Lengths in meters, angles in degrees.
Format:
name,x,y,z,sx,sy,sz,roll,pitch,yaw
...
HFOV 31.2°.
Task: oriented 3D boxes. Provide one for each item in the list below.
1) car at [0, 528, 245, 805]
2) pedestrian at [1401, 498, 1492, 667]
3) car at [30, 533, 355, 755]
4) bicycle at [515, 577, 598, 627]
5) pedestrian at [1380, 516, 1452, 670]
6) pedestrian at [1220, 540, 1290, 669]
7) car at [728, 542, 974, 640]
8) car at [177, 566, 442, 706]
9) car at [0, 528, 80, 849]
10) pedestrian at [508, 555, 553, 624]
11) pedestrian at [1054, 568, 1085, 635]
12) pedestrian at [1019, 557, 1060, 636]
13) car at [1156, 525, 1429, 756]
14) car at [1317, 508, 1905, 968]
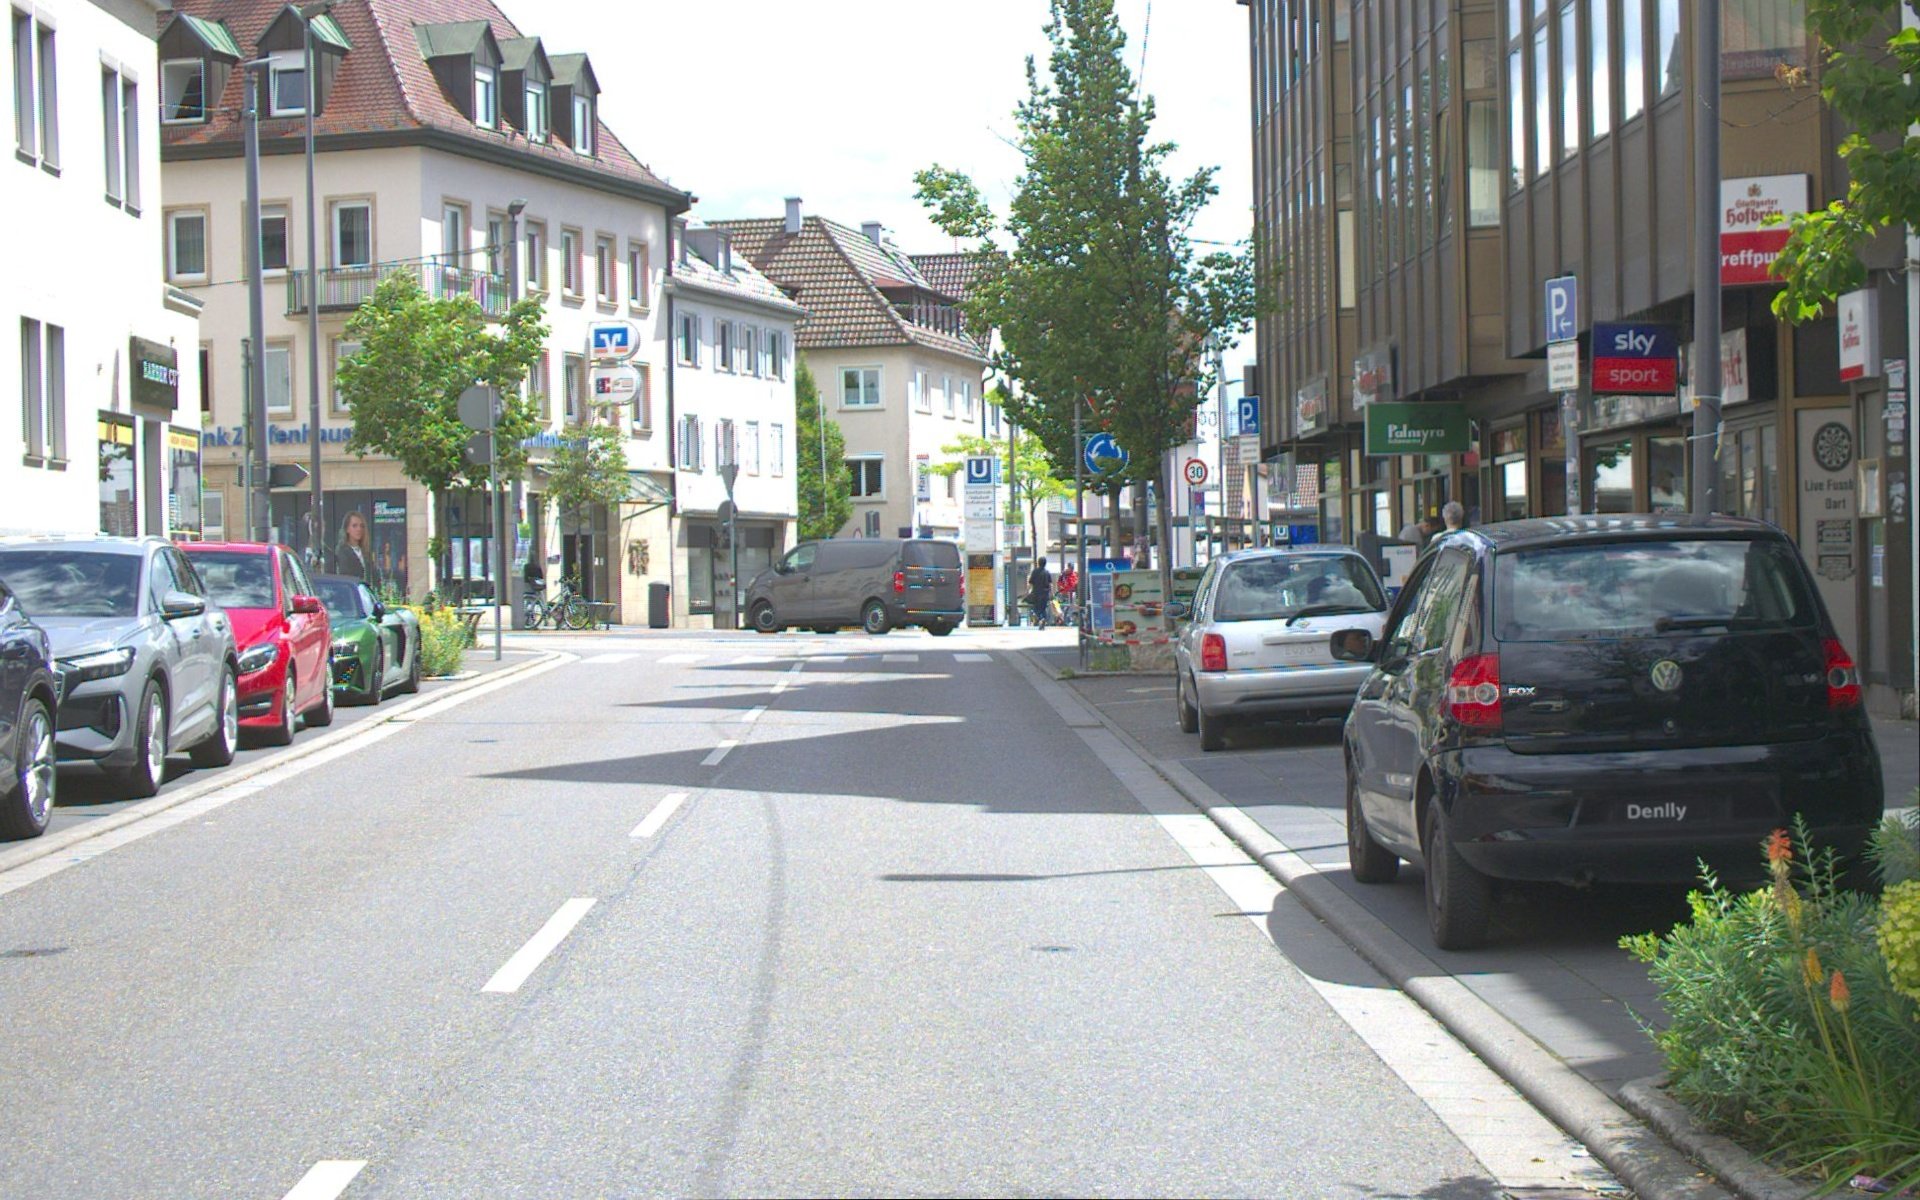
name,x,y,z,sx,sy,sz,roll,pitch,yaw
car,-5.833,0.360,22.150,1.799,1.598,4.352,-1,1,-4
pedestrian,4.961,-0.179,35.067,0.655,1.701,0.647,1,0,-23
car,-6.012,0.289,27.387,1.799,1.598,4.219,-1,1,-3
bicycle,-8.481,0.036,72.297,1.633,1.027,0.567,1,0,15
pedestrian,5.412,-0.085,40.845,0.737,1.808,0.711,1,0,-1
pedestrian,3.712,0.055,43.317,0.784,1.610,0.800,1,0,-1
car,-2.168,-0.190,66.864,2.041,1.842,4.997,0,0,-42
car,-6.360,0.314,34.056,1.818,1.219,4.524,1,1,-1
car,-5.673,0.456,16.523,1.799,1.592,4.389,0,1,-1
pedestrian,-9.534,-0.234,76.260,0.627,1.527,0.858,1,0,23
pedestrian,2.888,0.024,90.873,0.727,1.757,0.748,0,1,10
pedestrian,1.728,-0.081,74.924,0.869,1.702,0.530,1,0,2
car,2.411,0.247,25.717,1.609,1.490,3.795,-4,1,1
car,2.433,0.441,13.703,1.609,1.527,3.795,-2,1,1
